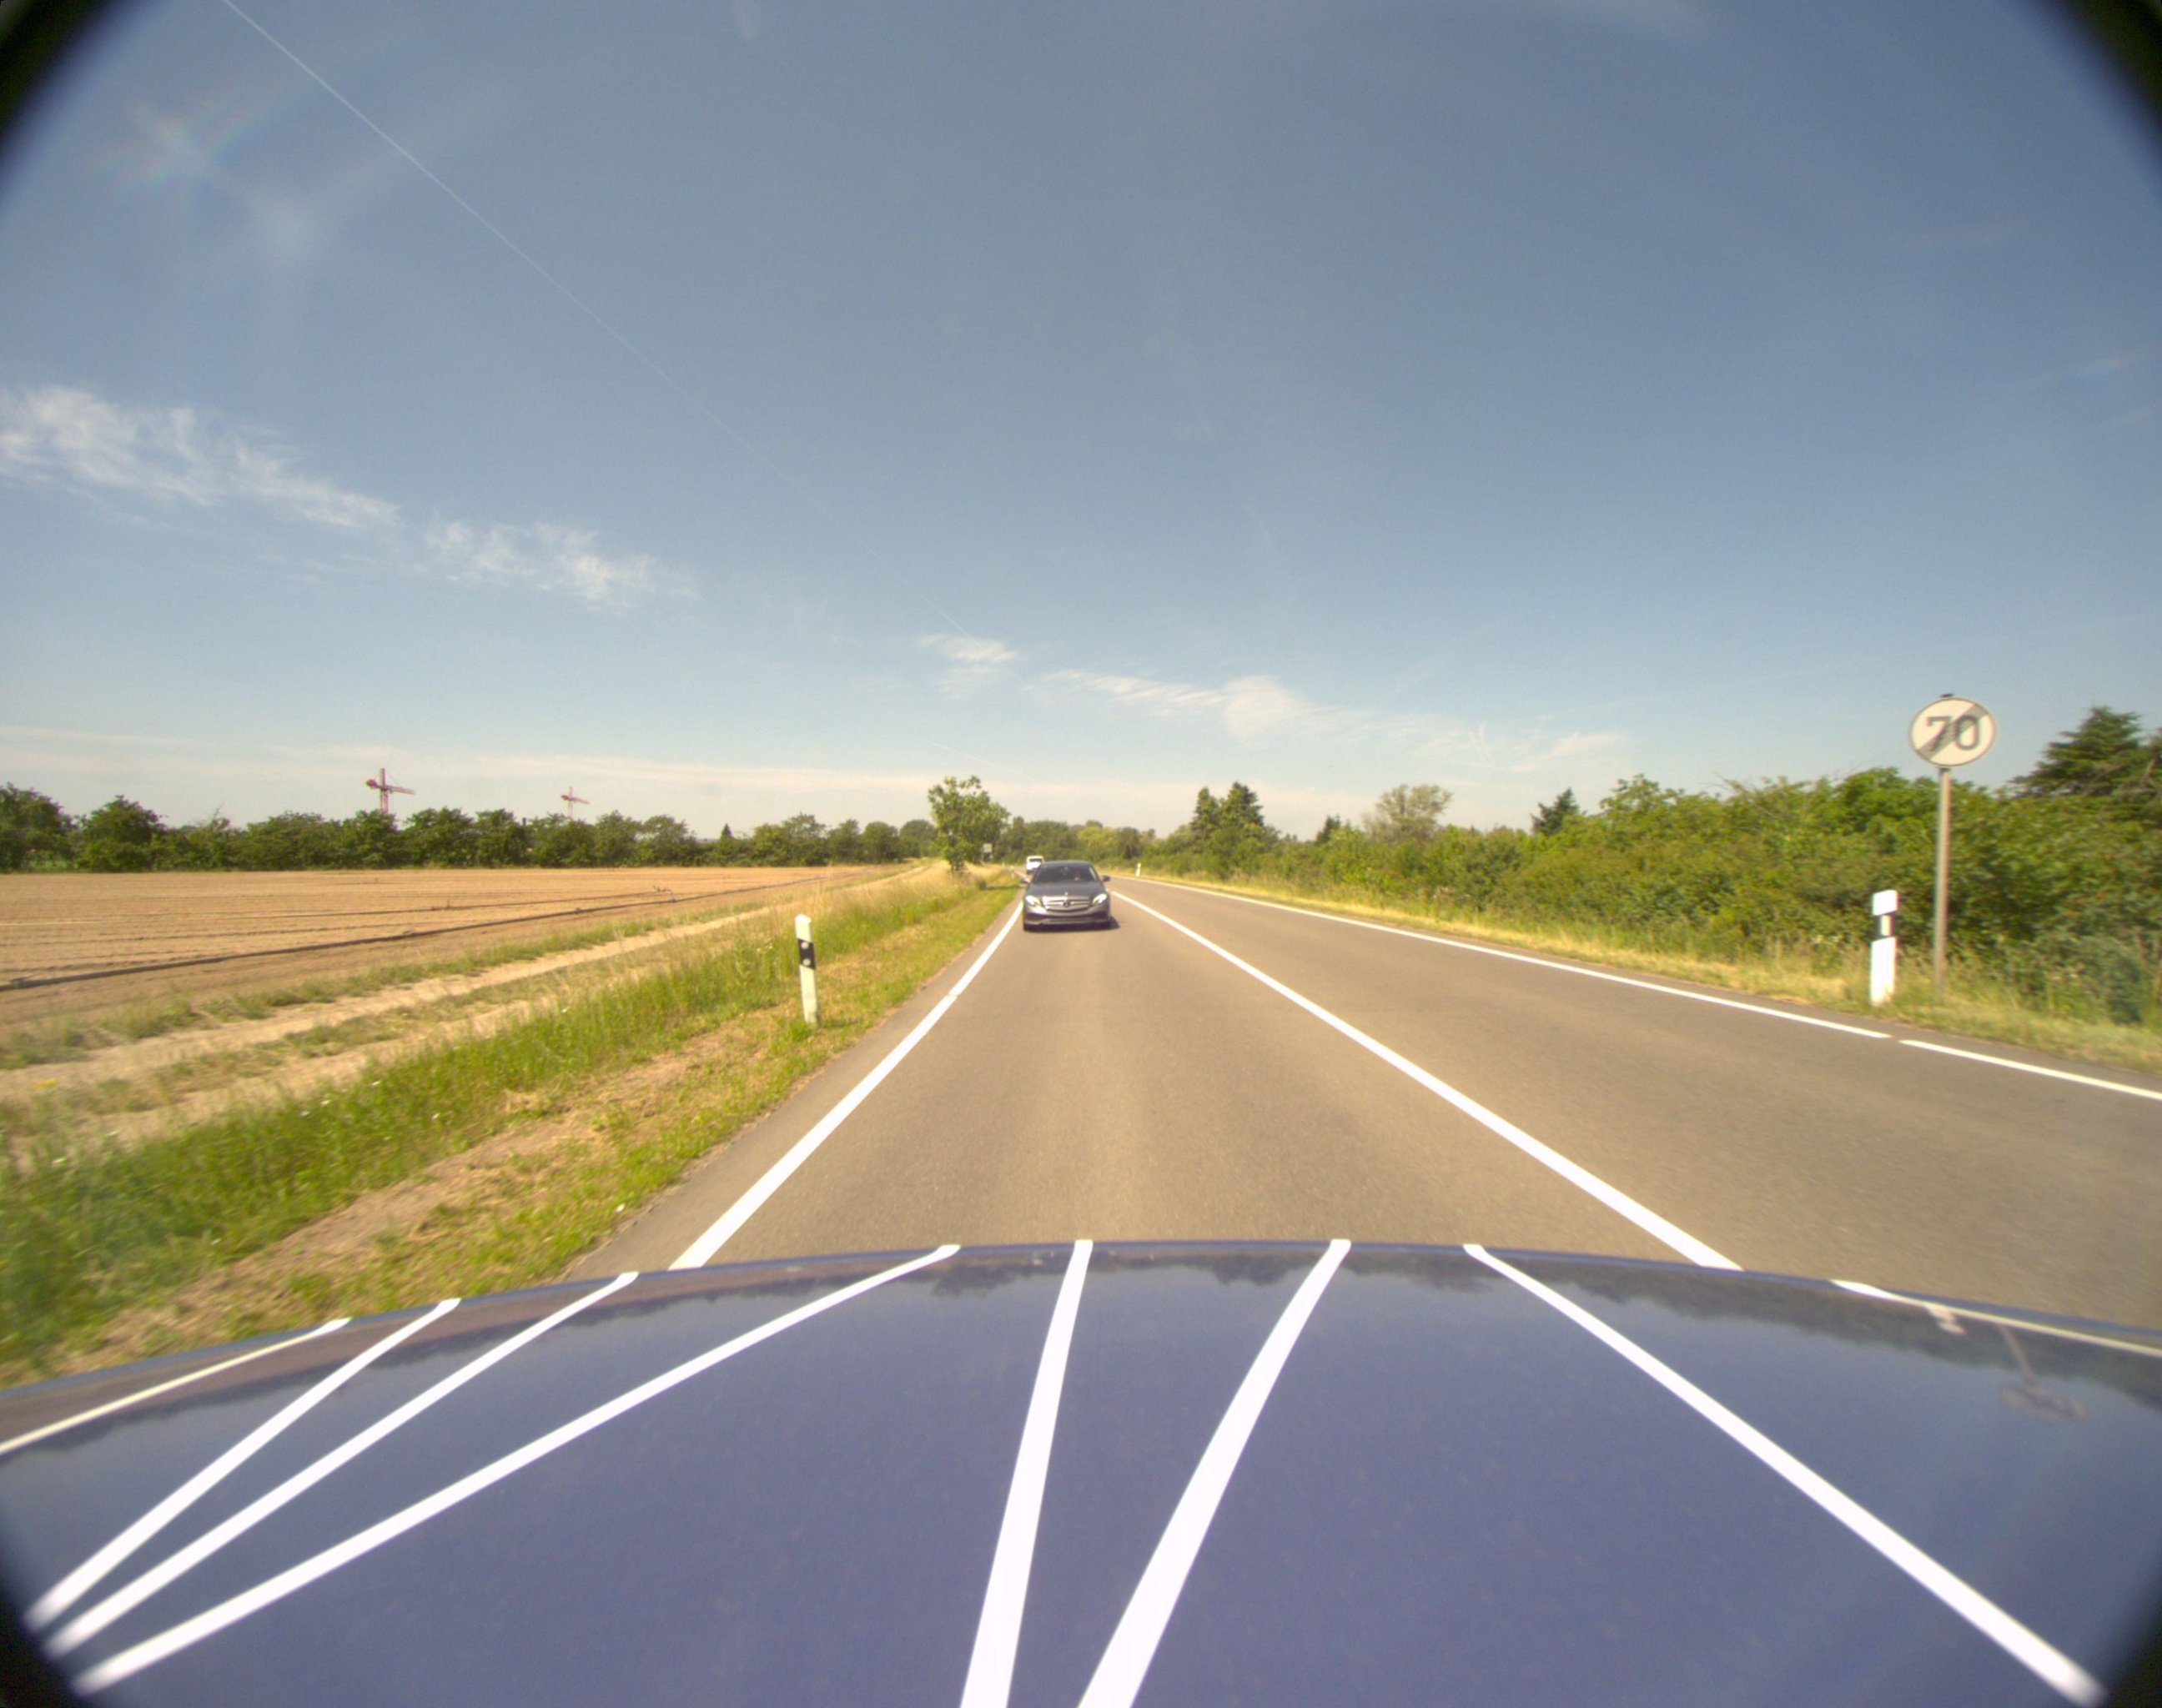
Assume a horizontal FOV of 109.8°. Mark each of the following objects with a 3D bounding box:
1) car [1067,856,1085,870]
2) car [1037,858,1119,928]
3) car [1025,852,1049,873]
[{"bbox_3d":[-0.594,0.996,83.288,1.697,1.355,3.824,-2,1,-4],"label":"car"},{"bbox_3d":[-0.190,0.905,19.607,1.832,1.540,4.497,-1,0,-4],"label":"car"},{"bbox_3d":[-4.748,0.859,80.623,2.180,2.002,5.022,-3,0,-6],"label":"car"}]
